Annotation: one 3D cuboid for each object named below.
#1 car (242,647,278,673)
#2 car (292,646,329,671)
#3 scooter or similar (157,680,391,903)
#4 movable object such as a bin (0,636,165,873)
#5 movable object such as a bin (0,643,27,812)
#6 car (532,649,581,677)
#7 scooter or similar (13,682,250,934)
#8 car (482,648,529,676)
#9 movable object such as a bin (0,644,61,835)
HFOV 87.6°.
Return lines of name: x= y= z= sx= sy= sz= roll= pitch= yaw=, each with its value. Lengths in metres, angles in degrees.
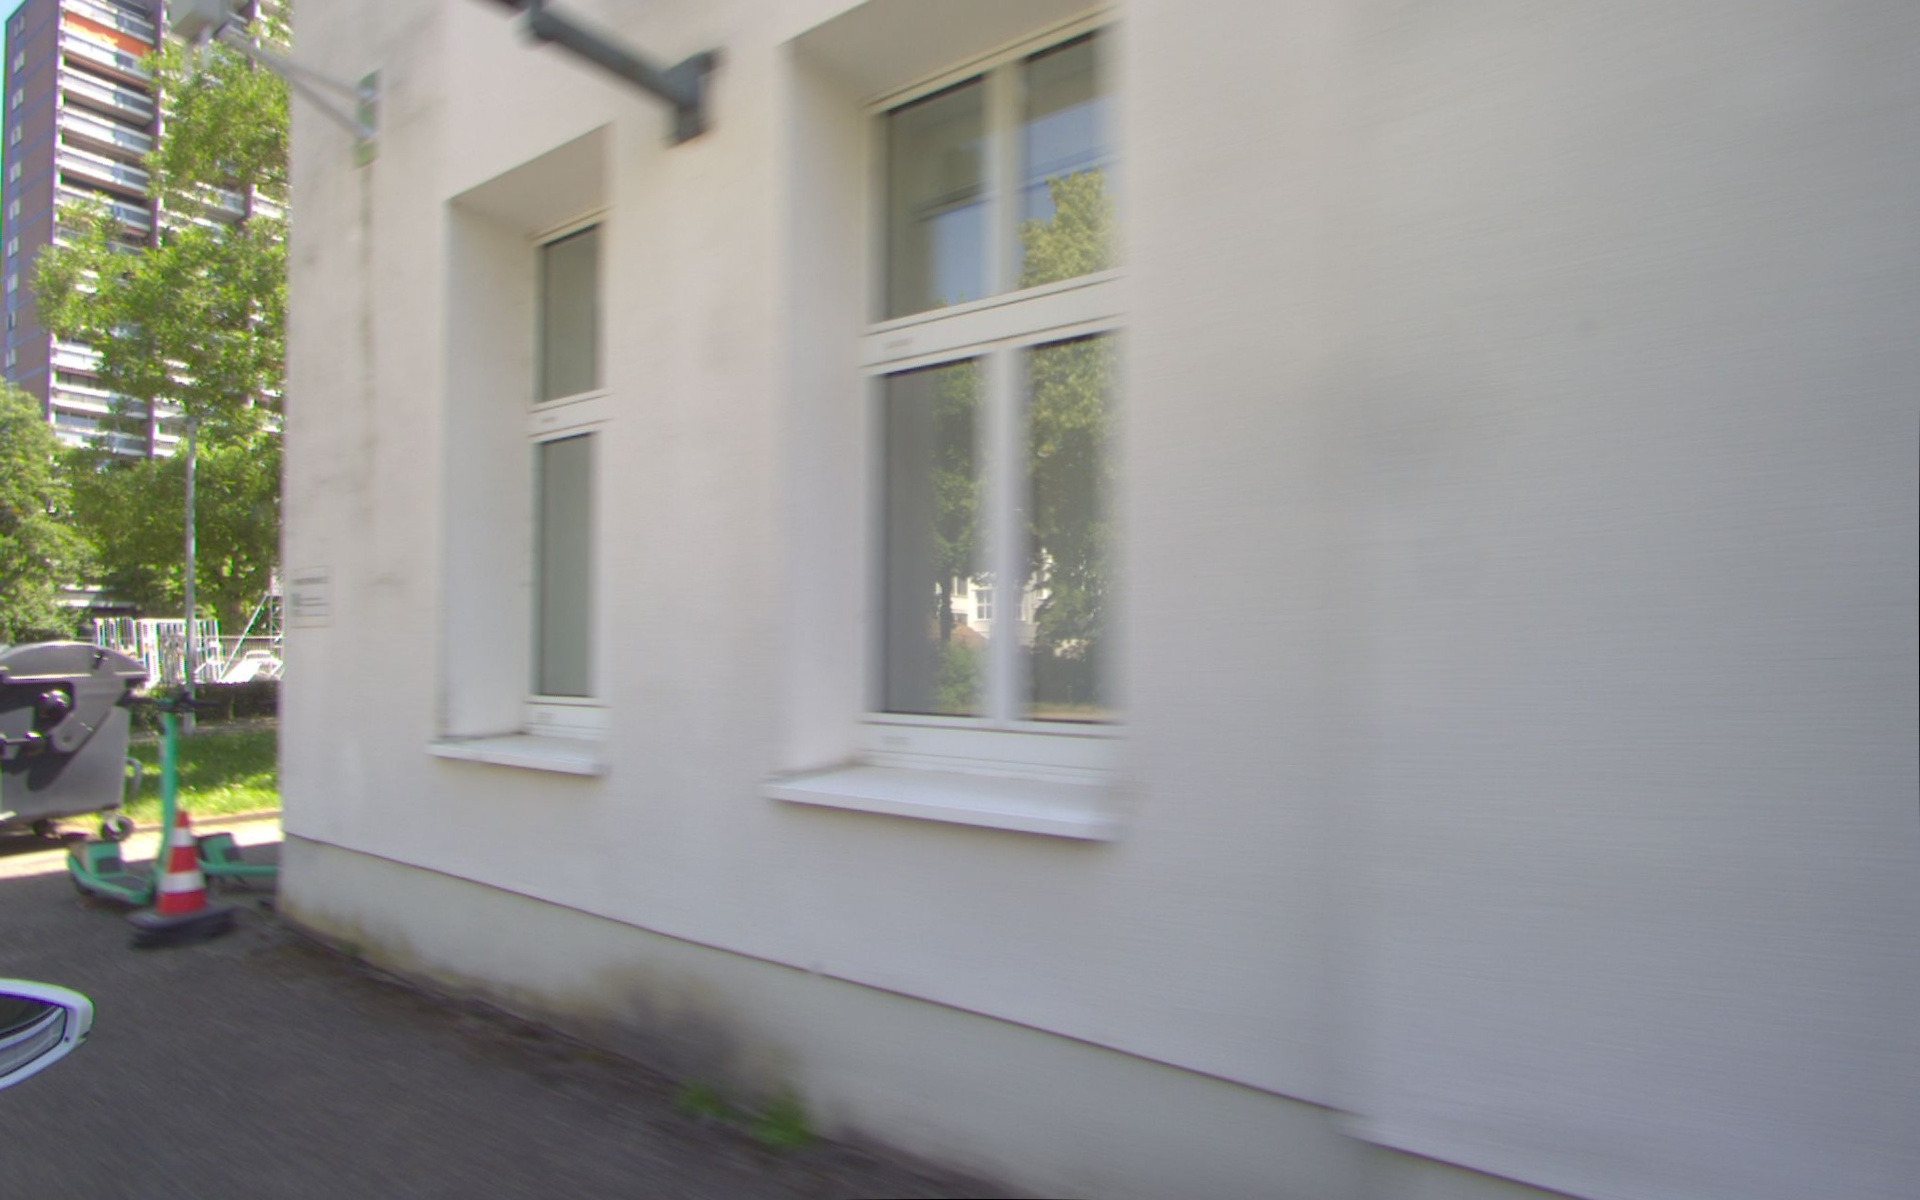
car: x=-40.364 y=3.445 z=57.755 sx=1.618 sy=1.404 sz=3.654 roll=2 pitch=-3 yaw=-35
car: x=-37.084 y=3.330 z=57.118 sx=1.618 sy=1.404 sz=3.654 roll=2 pitch=-3 yaw=-35
scooter or similar: x=-4.069 y=1.090 z=5.948 sx=1.233 sy=1.188 sz=0.464 roll=0 pitch=-2 yaw=18
movable object such as a bin: x=-6.699 y=1.031 z=7.075 sx=1.439 sy=1.524 sz=1.156 roll=-1 pitch=-3 yaw=26
movable object such as a bin: x=-9.246 y=1.121 z=8.800 sx=1.292 sy=1.488 sz=1.178 roll=-1 pitch=-3 yaw=31
car: x=-22.495 y=3.500 z=55.762 sx=1.619 sy=1.482 sz=3.652 roll=2 pitch=-3 yaw=-36
scooter or similar: x=-4.507 y=1.066 z=5.438 sx=1.335 sy=1.188 sz=0.464 roll=0 pitch=-2 yaw=26
car: x=-25.318 y=3.444 z=55.718 sx=1.619 sy=1.482 sz=3.652 roll=2 pitch=-3 yaw=-36
movable object such as a bin: x=-8.185 y=1.090 z=7.932 sx=1.291 sy=1.488 sz=1.179 roll=-1 pitch=-3 yaw=28
